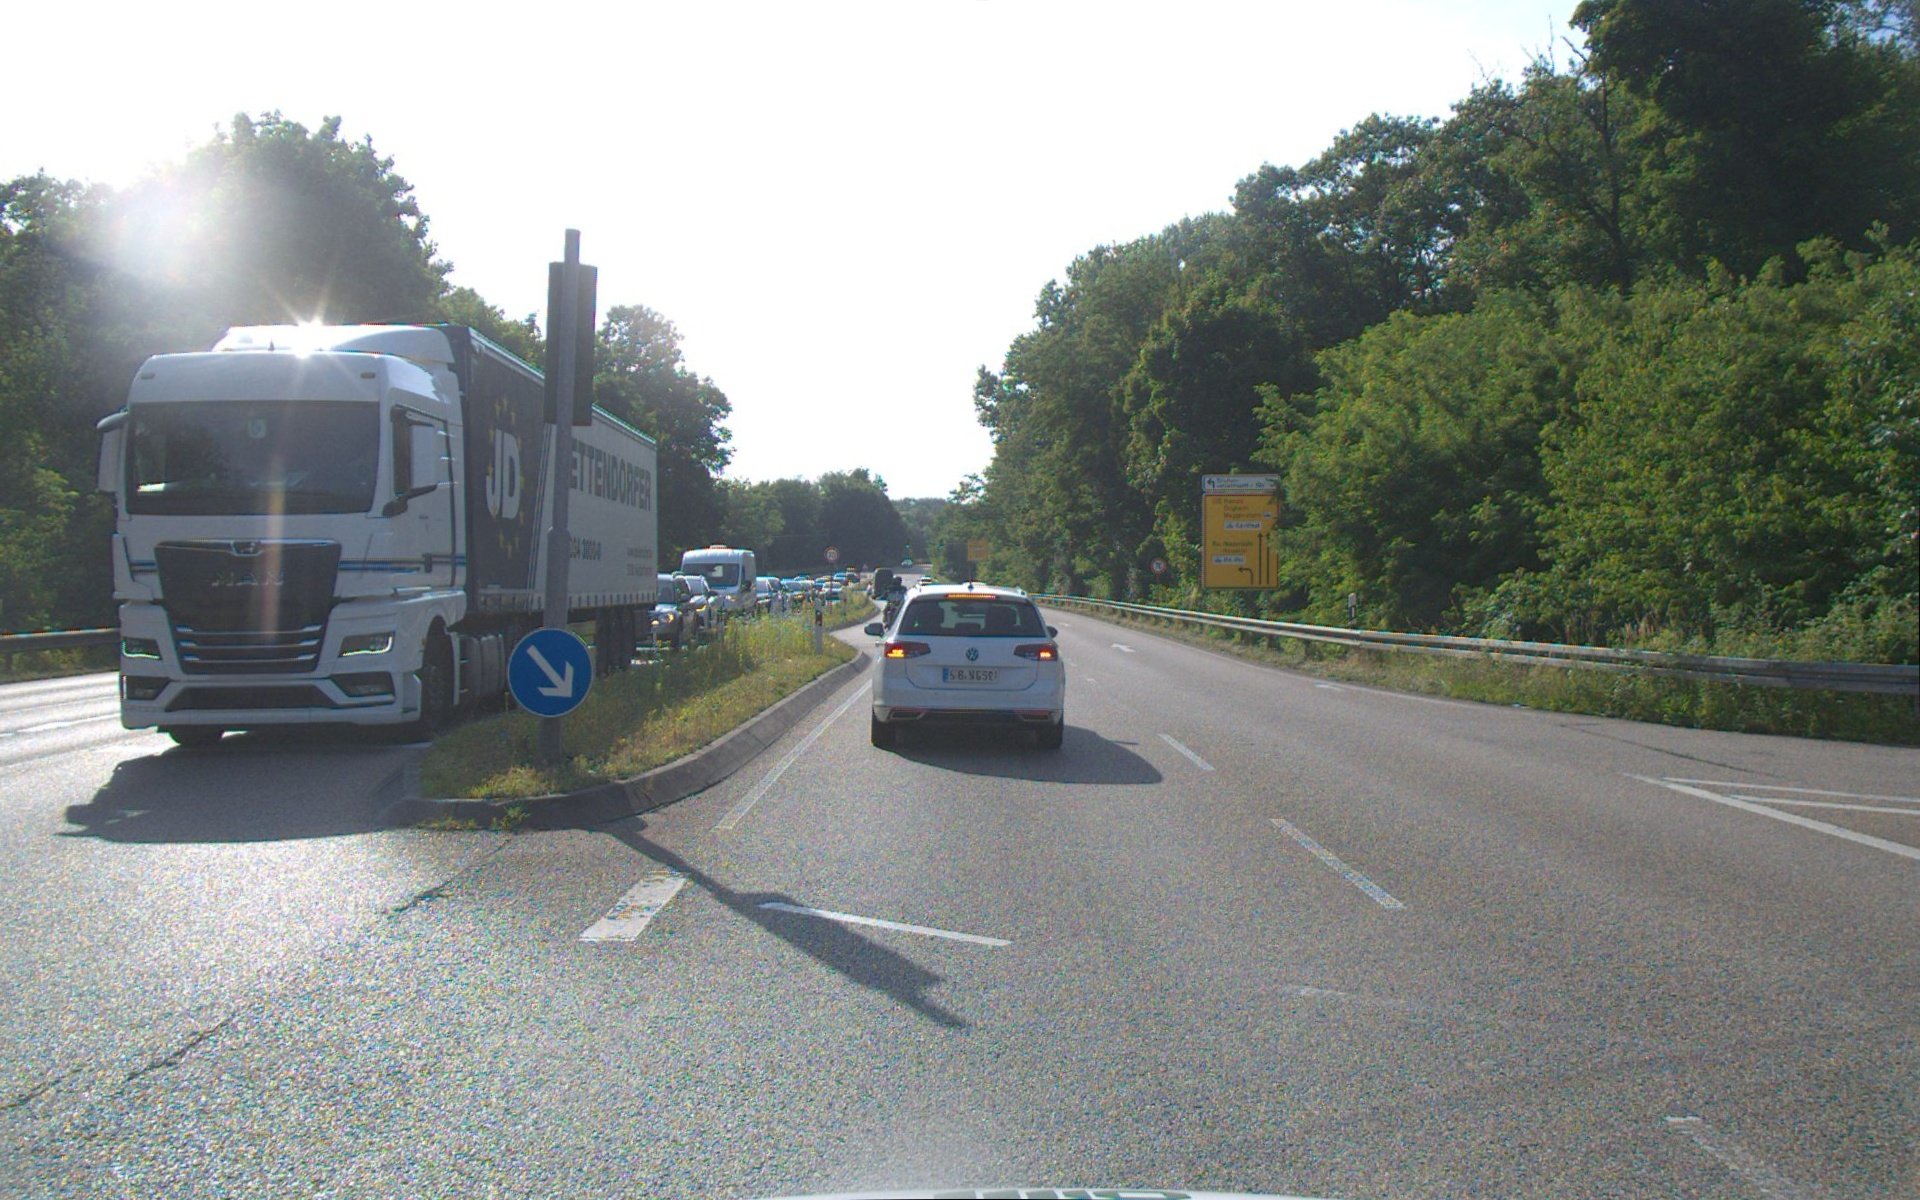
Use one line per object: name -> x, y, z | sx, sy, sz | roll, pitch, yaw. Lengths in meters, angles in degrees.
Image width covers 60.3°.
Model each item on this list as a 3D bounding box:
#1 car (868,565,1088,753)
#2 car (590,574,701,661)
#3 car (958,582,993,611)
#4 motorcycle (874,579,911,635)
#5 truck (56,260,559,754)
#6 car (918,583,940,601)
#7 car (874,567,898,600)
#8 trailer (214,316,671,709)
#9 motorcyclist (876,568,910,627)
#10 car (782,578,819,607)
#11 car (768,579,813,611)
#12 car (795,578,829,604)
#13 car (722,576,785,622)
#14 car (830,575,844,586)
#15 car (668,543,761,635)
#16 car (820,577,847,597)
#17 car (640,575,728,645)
car -> 0.049, 0.462, 16.550 | 1.832, 1.548, 4.832 | 2, 1, -3
car -> -6.447, 0.299, 34.320 | 1.666, 1.660, 4.368 | -1, 1, -3
car -> 0.788, -0.204, 87.150 | 1.725, 1.404, 3.971 | 2, 1, -1
motorcycle -> -1.919, 0.183, 47.278 | 0.890, 1.478, 2.689 | -3, 1, 0
truck -> -6.212, -0.829, 17.081 | 2.833, 4.067, 6.718 | 0, 1, -3
car -> -2.926, -0.730, 154.808 | 1.711, 1.564, 3.921 | 2, 1, -6
car -> -6.868, -1.543, 154.150 | 2.165, 2.939, 7.009 | -1, 1, -2
trailer -> -6.623, -1.027, 24.265 | 2.932, 4.065, 14.007 | 0, 1, -3
motorcyclist -> -1.910, -0.083, 47.406 | 0.865, 1.644, 1.290 | 2, 1, 0
car -> -8.373, -0.412, 87.192 | 1.672, 1.448, 4.210 | -1, 1, -2
car -> -8.185, -0.268, 80.197 | 1.735, 1.448, 5.191 | -1, 1, -2
car -> -8.832, -0.566, 99.097 | 1.731, 1.442, 4.433 | -1, 1, -2
car -> -7.206, -0.063, 58.128 | 1.724, 1.482, 5.184 | -1, 1, -2
car -> -16.139, -2.592, 217.253 | 1.753, 1.436, 4.223 | 2, 1, -5
car -> -7.326, -0.370, 49.892 | 2.033, 2.578, 6.162 | -1, 1, -2
car -> -9.748, -1.038, 127.396 | 1.830, 1.442, 4.414 | -1, 1, -2
car -> -6.954, 0.203, 42.076 | 1.666, 1.660, 4.745 | -1, 1, -3
